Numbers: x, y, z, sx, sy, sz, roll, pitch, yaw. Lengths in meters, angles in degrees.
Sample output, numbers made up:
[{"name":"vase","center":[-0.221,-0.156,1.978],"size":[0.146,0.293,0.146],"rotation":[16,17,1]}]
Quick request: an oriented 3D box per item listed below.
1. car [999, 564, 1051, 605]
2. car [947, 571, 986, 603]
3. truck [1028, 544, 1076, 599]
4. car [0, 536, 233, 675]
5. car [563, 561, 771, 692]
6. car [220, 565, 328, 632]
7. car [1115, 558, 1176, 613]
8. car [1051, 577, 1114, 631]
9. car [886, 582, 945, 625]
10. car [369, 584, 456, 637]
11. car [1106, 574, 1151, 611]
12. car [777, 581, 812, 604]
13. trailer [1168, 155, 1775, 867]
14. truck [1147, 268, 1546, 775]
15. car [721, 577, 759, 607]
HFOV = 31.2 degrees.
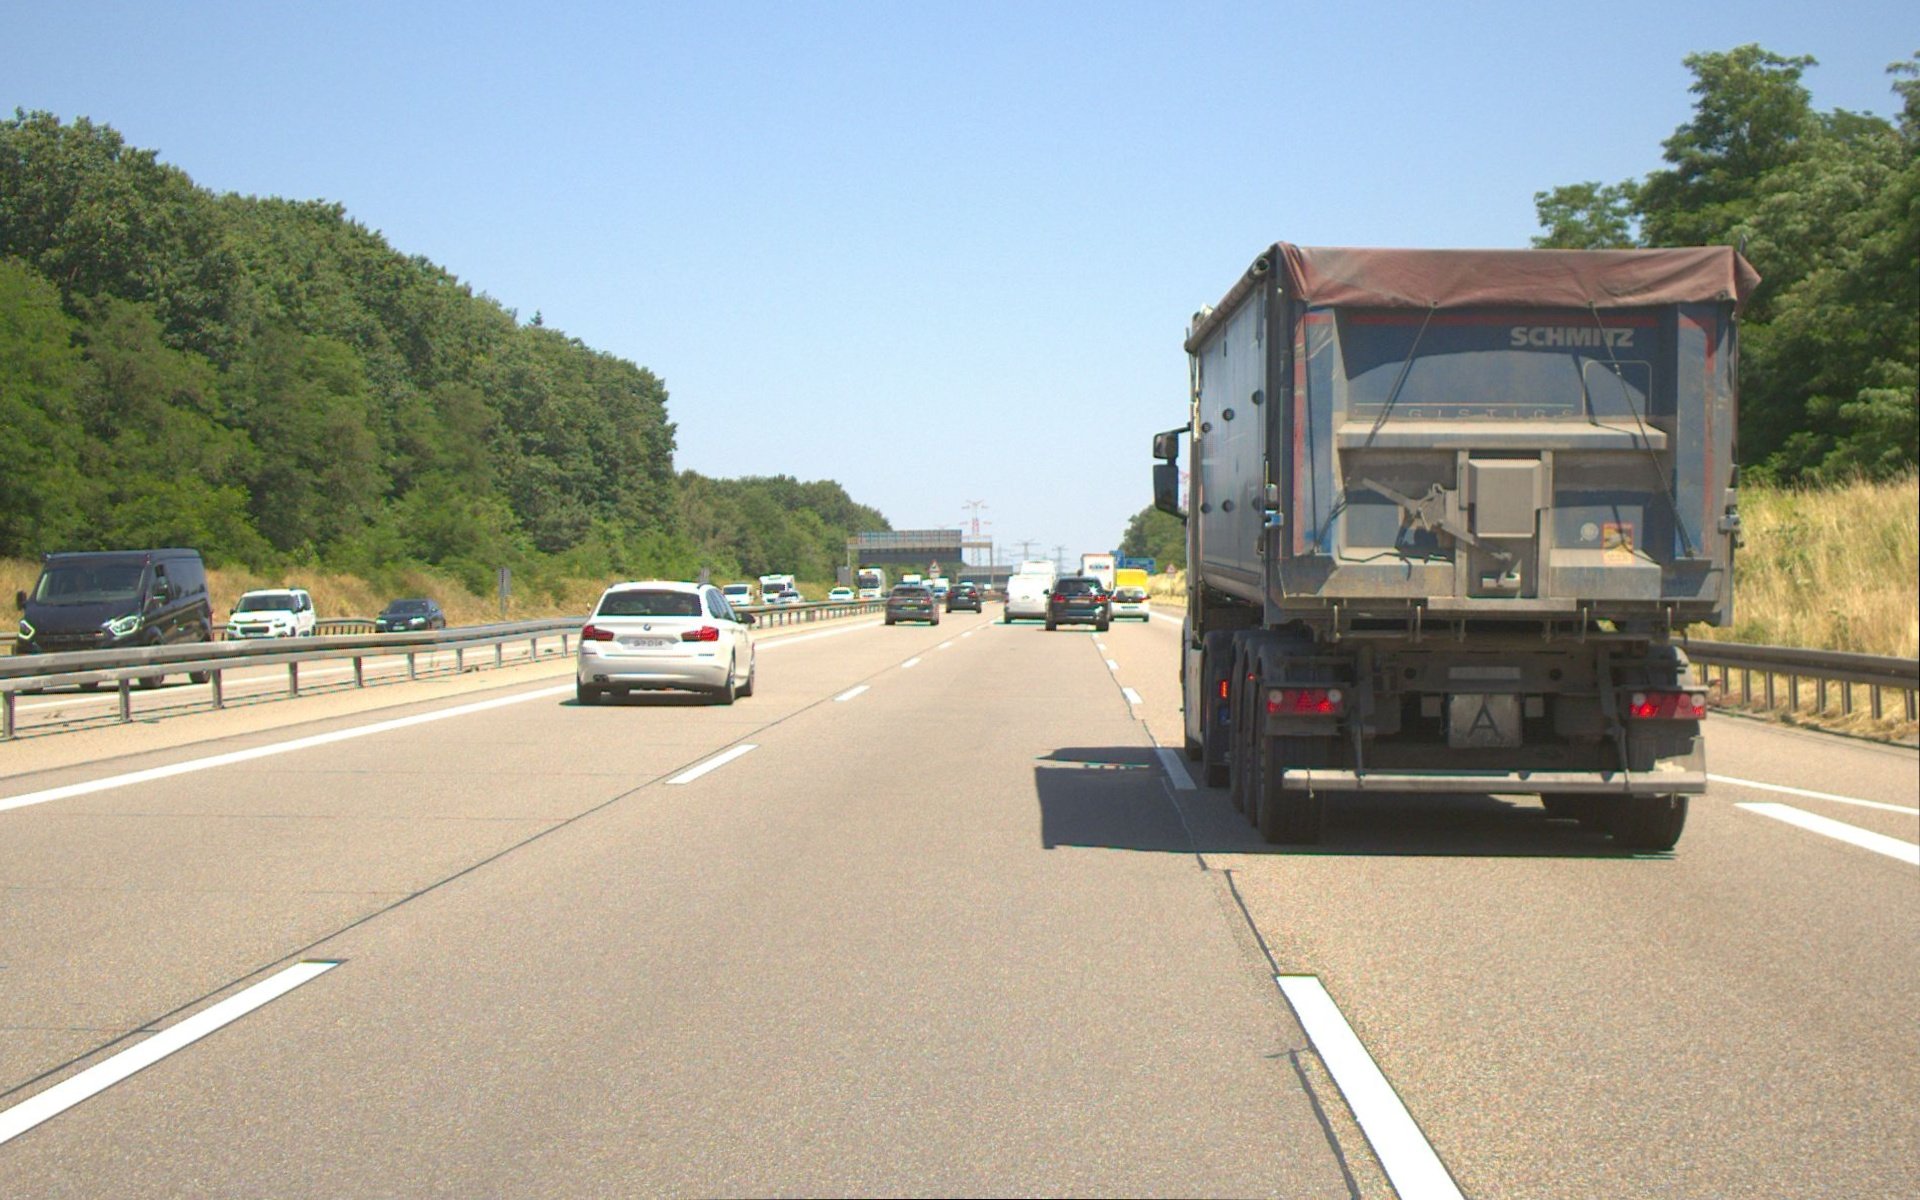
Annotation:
[{"name":"car","center":[2.480,-0.606,130.122],"size":[1.894,1.464,4.261],"rotation":[1,1,2]},{"name":"car","center":[0.327,-0.672,176.268],"size":[1.876,1.575,3.928],"rotation":[1,1,2]},{"name":"truck","center":[4.976,-1.520,187.211],"size":[2.428,2.874,6.205],"rotation":[1,0,0]},{"name":"car","center":[-12.514,0.062,50.938],"size":[2.280,1.934,4.942],"rotation":[-1,1,2]},{"name":"car","center":[-3.554,0.303,42.659],"size":[1.964,1.498,5.404],"rotation":[1,0,2]},{"name":"car","center":[-19.659,-0.056,98.644],"size":[1.993,1.821,4.642],"rotation":[-2,0,2]},{"name":"car","center":[9.194,-0.701,171.123],"size":[2.666,2.625,6.113],"rotation":[1,0,0]},{"name":"car","center":[3.884,0.122,109.799],"size":[1.832,1.666,4.000],"rotation":[1,0,0]},{"name":"car","center":[-1.561,0.101,121.424],"size":[1.832,1.427,4.999],"rotation":[1,1,2]},{"name":"car","center":[-18.743,0.347,117.844],"size":[1.993,1.698,4.979],"rotation":[-2,0,2]},{"name":"car","center":[7.016,-0.287,142.784],"size":[1.821,1.486,3.736],"rotation":[1,0,3]},{"name":"car","center":[-11.223,-0.504,233.894],"size":[1.851,1.522,5.204],"rotation":[-1,0,3]},{"name":"trailer","center":[2.972,-0.545,22.689],"size":[2.737,3.746,9.109],"rotation":[0,1,1]},{"name":"truck","center":[3.026,-0.632,28.445],"size":[2.684,3.746,5.944],"rotation":[0,1,1]},{"name":"car","center":[-14.974,-0.581,234.289],"size":[1.993,1.946,5.244],"rotation":[-2,0,2]}]
